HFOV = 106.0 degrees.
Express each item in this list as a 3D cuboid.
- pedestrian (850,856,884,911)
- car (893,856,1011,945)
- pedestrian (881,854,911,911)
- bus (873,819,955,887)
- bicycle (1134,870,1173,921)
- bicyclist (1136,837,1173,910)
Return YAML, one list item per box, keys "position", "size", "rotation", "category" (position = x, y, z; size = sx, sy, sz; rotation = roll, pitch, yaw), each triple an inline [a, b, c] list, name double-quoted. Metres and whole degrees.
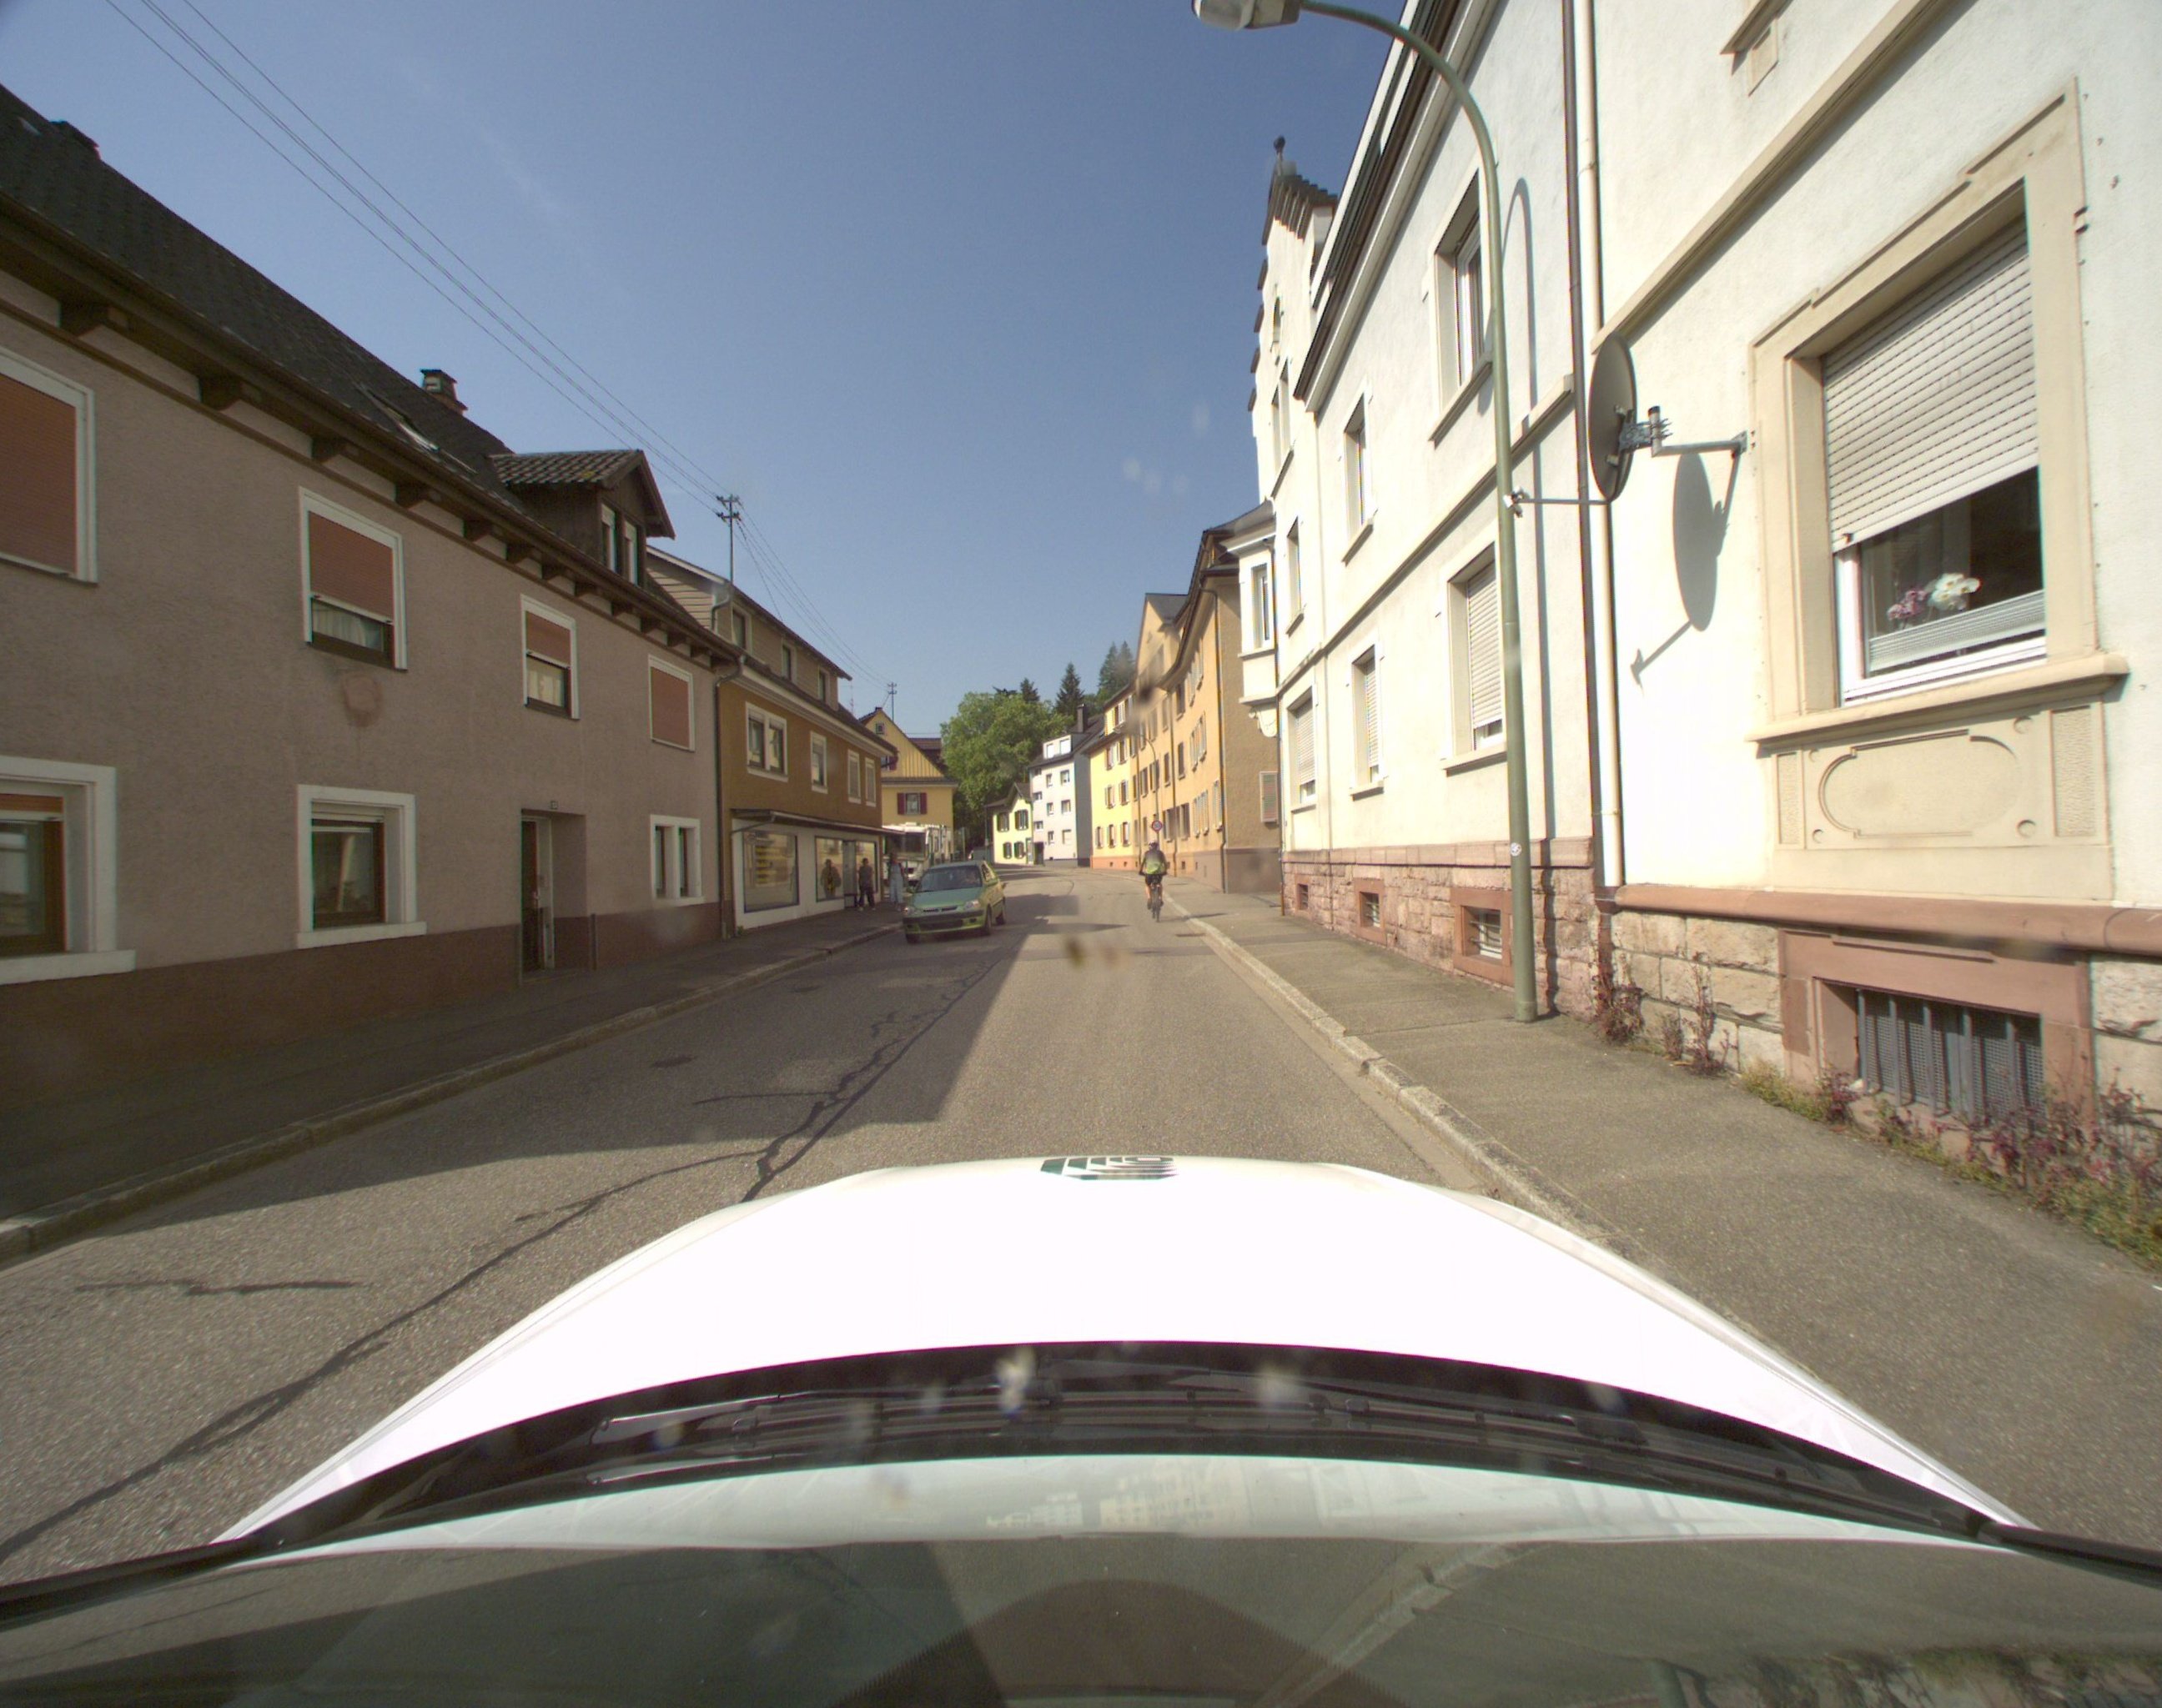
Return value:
- position: [-6.302, 0.849, 24.015]
  size: [0.732, 1.564, 0.825]
  rotation: [1, 0, 1]
  category: "pedestrian"
- position: [-2.511, 0.857, 16.665]
  size: [1.591, 1.464, 3.661]
  rotation: [-5, 0, 2]
  category: "car"
- position: [-5.435, 0.833, 23.943]
  size: [0.637, 1.626, 0.777]
  rotation: [1, 0, 1]
  category: "pedestrian"
- position: [-8.733, -0.049, 43.741]
  size: [2.813, 3.228, 9.029]
  rotation: [0, 0, -2]
  category: "bus"
- position: [1.594, 0.892, 18.034]
  size: [0.696, 1.035, 1.471]
  rotation: [-1, 0, 0]
  category: "bicycle"
- position: [1.618, 0.425, 17.956]
  size: [0.683, 1.531, 0.715]
  rotation: [-3, 0, -1]
  category: "bicyclist"
